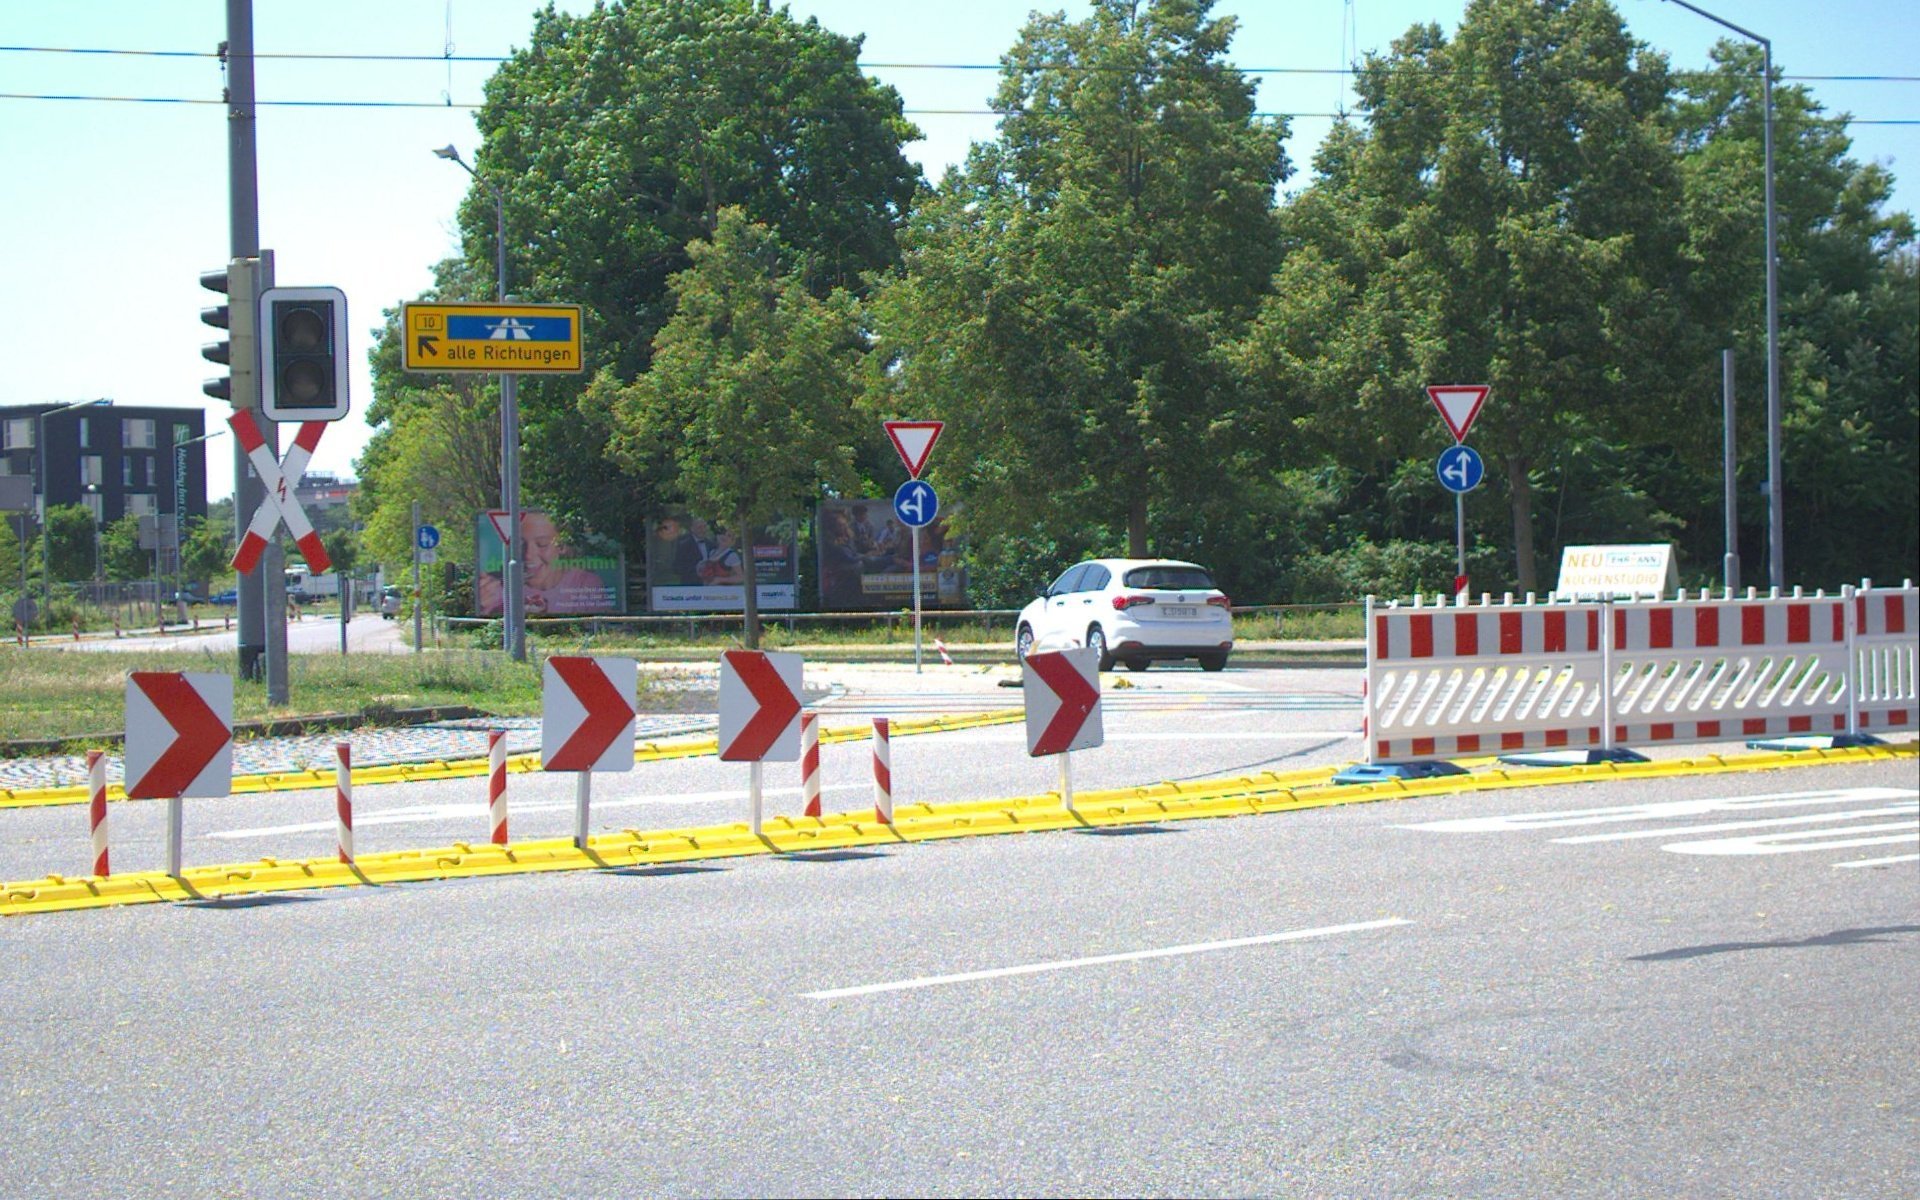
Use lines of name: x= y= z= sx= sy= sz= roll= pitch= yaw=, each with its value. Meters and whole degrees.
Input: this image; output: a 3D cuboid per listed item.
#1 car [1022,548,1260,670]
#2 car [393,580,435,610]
car: x=2.314 y=0.098 z=45.169 sx=1.993 sy=1.481 sz=4.368 roll=-1 pitch=1 yaw=-12
car: x=-25.321 y=-0.231 z=159.493 sx=1.658 sy=1.368 sz=3.032 roll=-1 pitch=1 yaw=-5
